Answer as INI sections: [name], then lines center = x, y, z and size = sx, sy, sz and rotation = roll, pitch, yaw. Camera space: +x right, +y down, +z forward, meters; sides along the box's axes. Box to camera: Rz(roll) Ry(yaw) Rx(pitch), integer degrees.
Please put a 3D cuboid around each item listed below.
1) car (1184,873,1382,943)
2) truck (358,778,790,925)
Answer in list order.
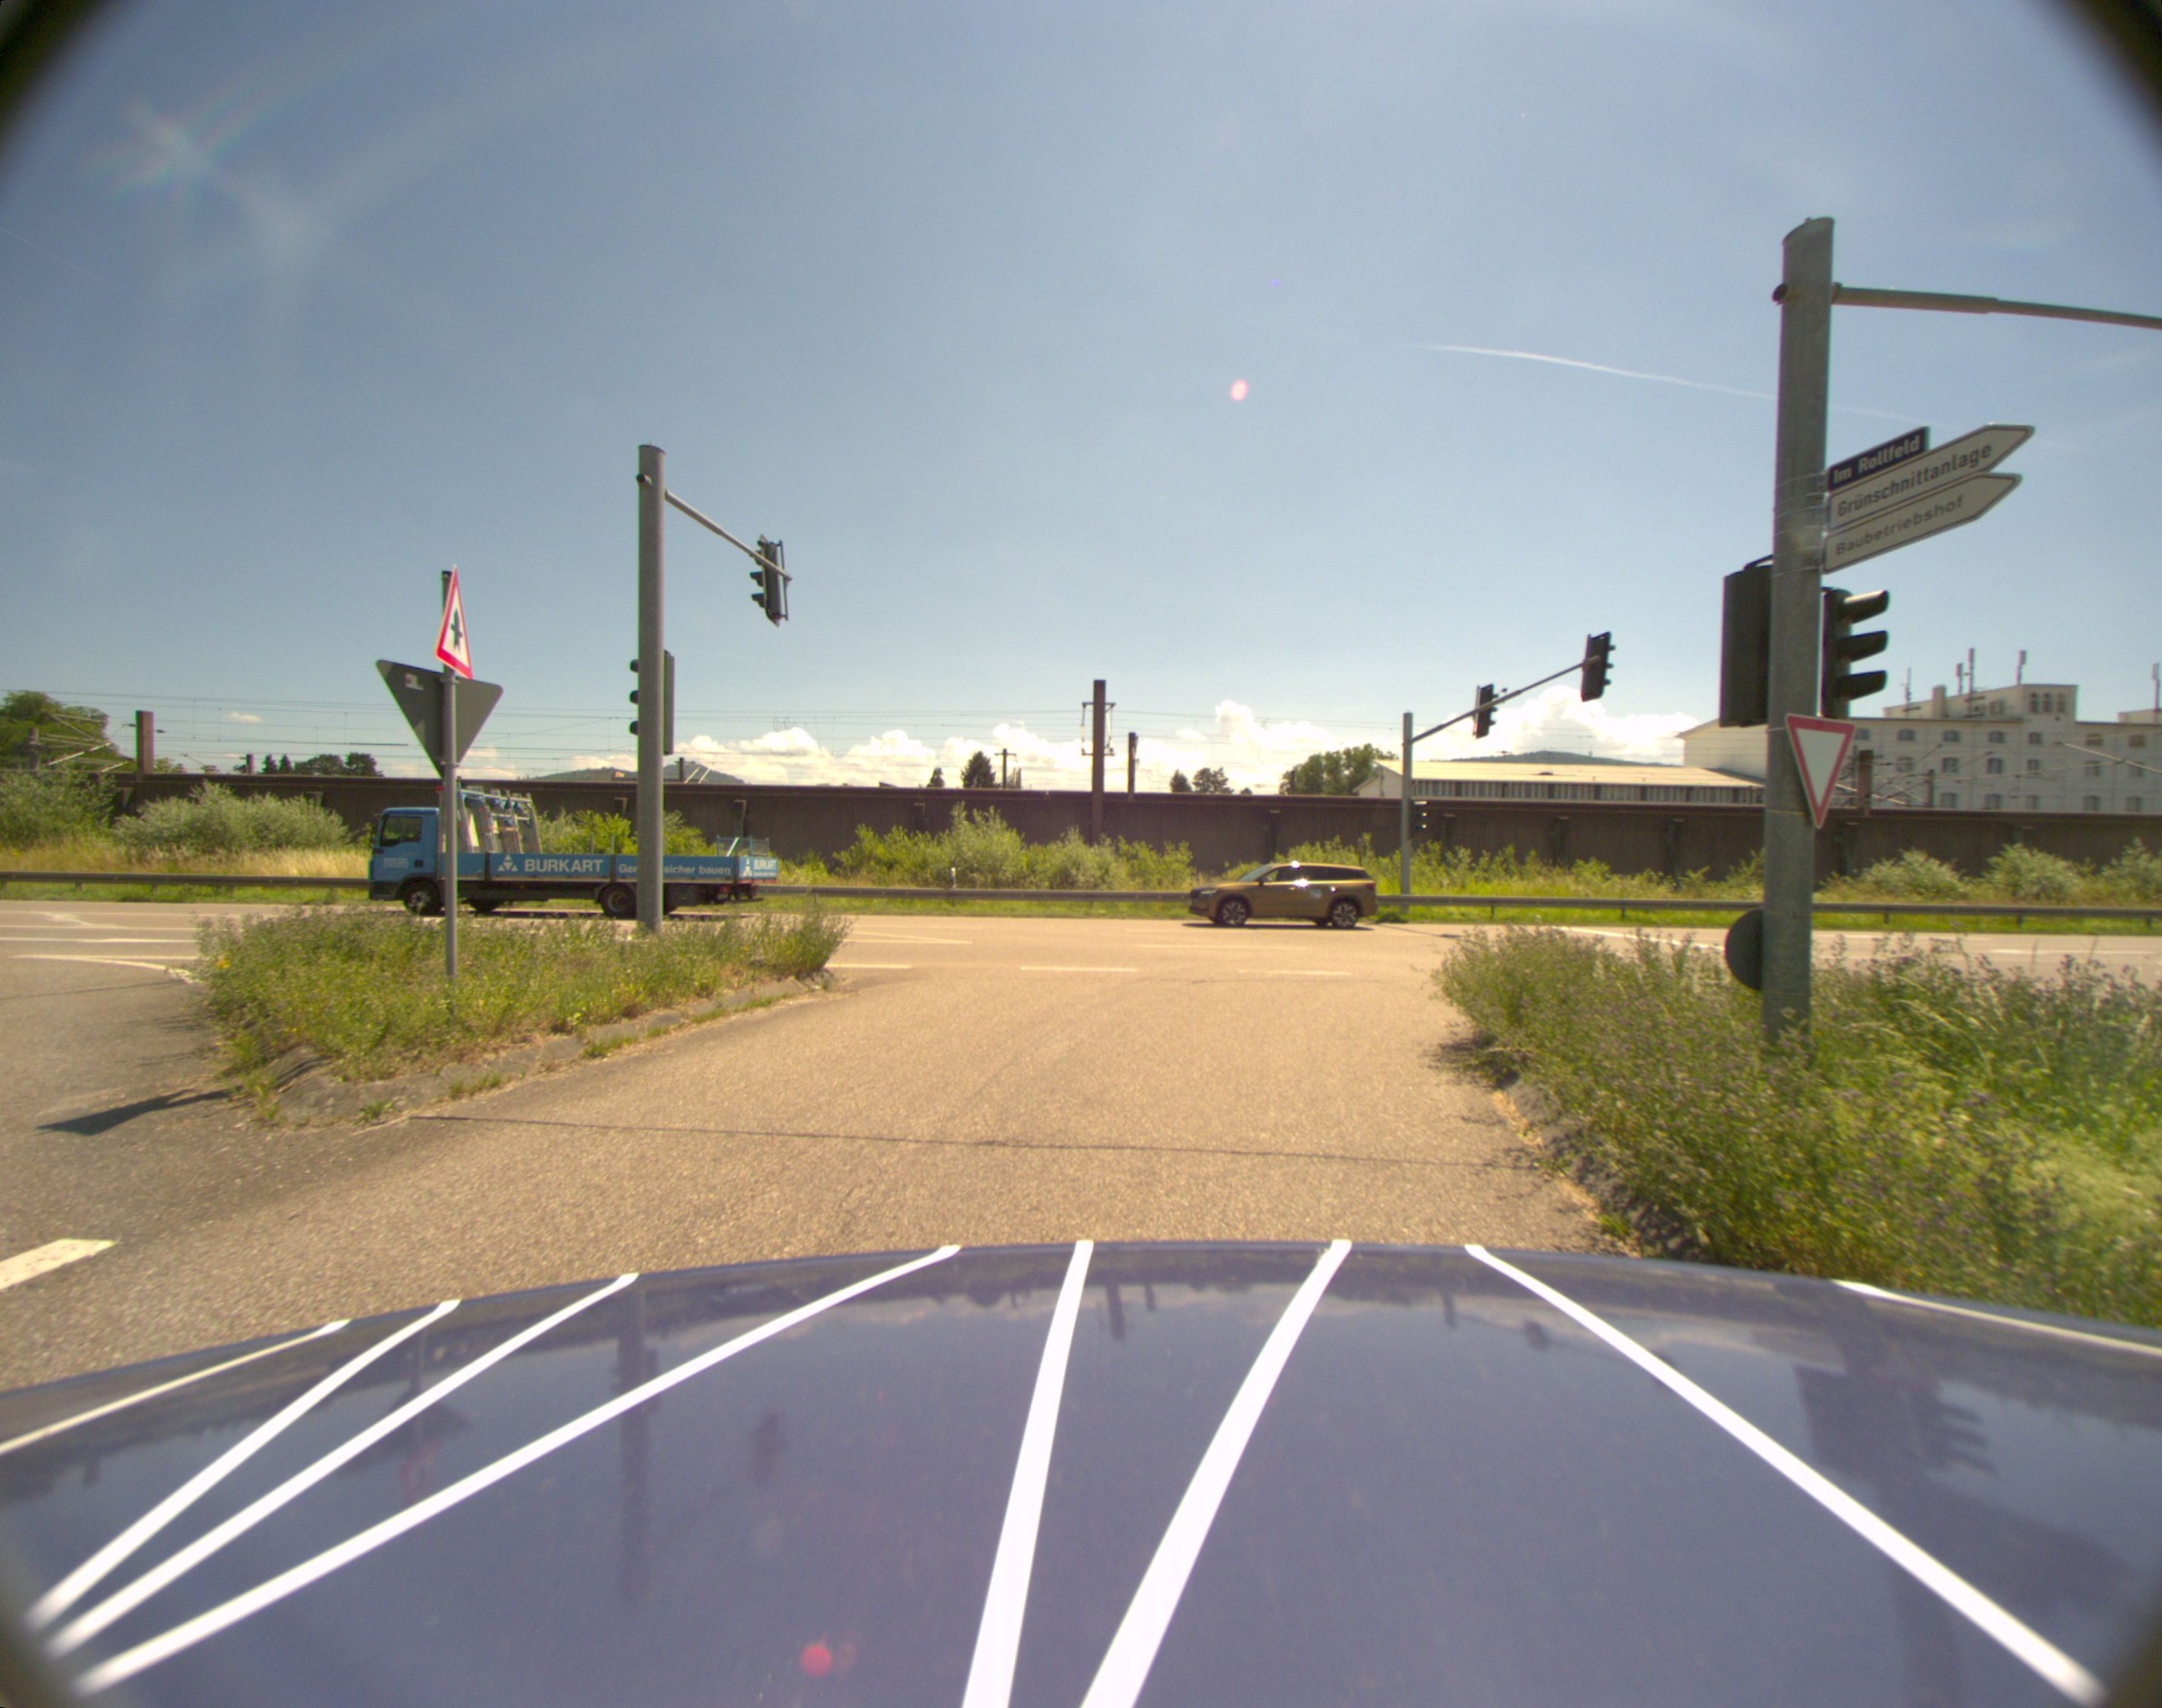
[car]
center = 5.085, 1.370, 19.496
size = 4.621, 1.616, 1.706
rotation = 1, -3, -2
[truck]
center = -12.176, -0.025, 18.935
size = 8.620, 3.131, 2.922
rotation = 2, 0, -2
